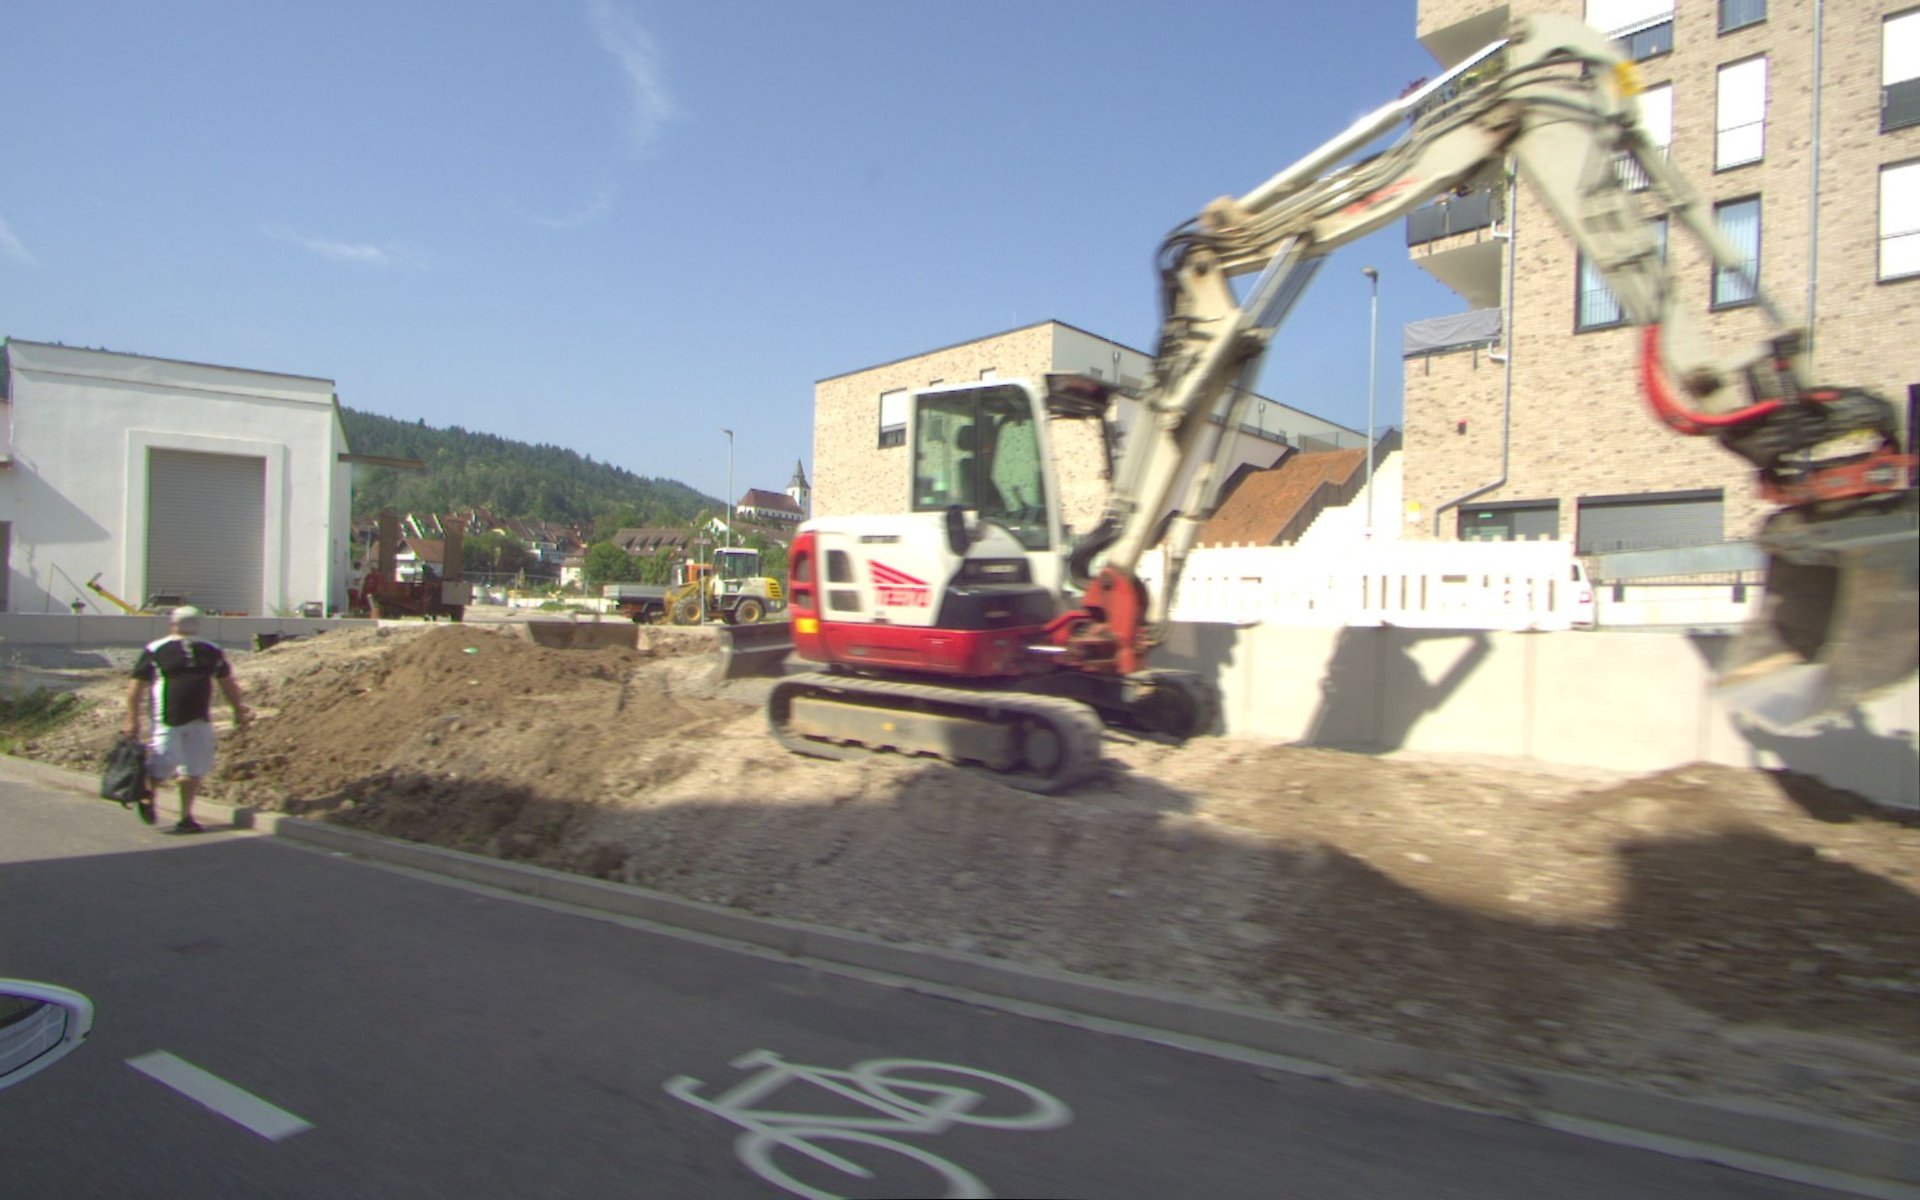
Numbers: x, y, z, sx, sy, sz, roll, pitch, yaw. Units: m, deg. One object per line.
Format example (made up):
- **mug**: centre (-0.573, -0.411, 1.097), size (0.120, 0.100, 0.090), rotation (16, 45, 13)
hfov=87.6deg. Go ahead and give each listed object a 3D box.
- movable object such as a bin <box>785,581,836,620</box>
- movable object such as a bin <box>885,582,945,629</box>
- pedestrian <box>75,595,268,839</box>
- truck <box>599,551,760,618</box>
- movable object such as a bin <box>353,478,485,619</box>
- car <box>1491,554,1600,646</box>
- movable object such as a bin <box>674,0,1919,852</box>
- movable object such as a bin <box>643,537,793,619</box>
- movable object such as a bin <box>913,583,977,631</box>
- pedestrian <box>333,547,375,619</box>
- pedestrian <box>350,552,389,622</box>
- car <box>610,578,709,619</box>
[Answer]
- **movable object such as a bin**: centre (-5.500, 0.016, 36.858), size (1.305, 1.283, 1.291), rotation (2, -3, 42)
- **movable object such as a bin**: centre (-1.577, 0.195, 35.034), size (1.305, 1.482, 1.574), rotation (2, -3, 41)
- **pedestrian**: centre (-5.954, 0.845, 7.588), size (0.708, 1.704, 0.888), rotation (0, -3, 31)
- **truck**: centre (-10.224, -0.517, 36.652), size (5.261, 2.295, 2.205), rotation (0, 0, -33)
- **movable object such as a bin**: centre (-16.270, -1.345, 30.512), size (2.815, 3.667, 5.716), rotation (4, -2, -23)
- **car**: centre (10.682, 0.027, 18.312), size (1.571, 1.514, 3.400), rotation (0, -1, 30)
- **movable object such as a bin**: centre (1.787, -1.018, 6.033), size (7.693, 3.901, 2.290), rotation (1, -3, 36)
- **movable object such as a bin**: centre (-8.147, -0.664, 33.858), size (4.566, 2.603, 1.913), rotation (0, 0, -33)
- **movable object such as a bin**: centre (-0.499, 0.257, 34.071), size (1.305, 1.482, 1.686), rotation (2, -3, 41)
- **pedestrian**: centre (-16.748, -0.455, 27.683), size (0.624, 1.920, 0.608), rotation (3, -2, 11)
- **pedestrian**: centre (-16.965, -0.362, 28.759), size (0.624, 1.920, 0.608), rotation (4, -2, -2)
- **car**: centre (-12.511, -0.038, 41.772), size (3.711, 1.536, 1.495), rotation (2, -2, -29)
